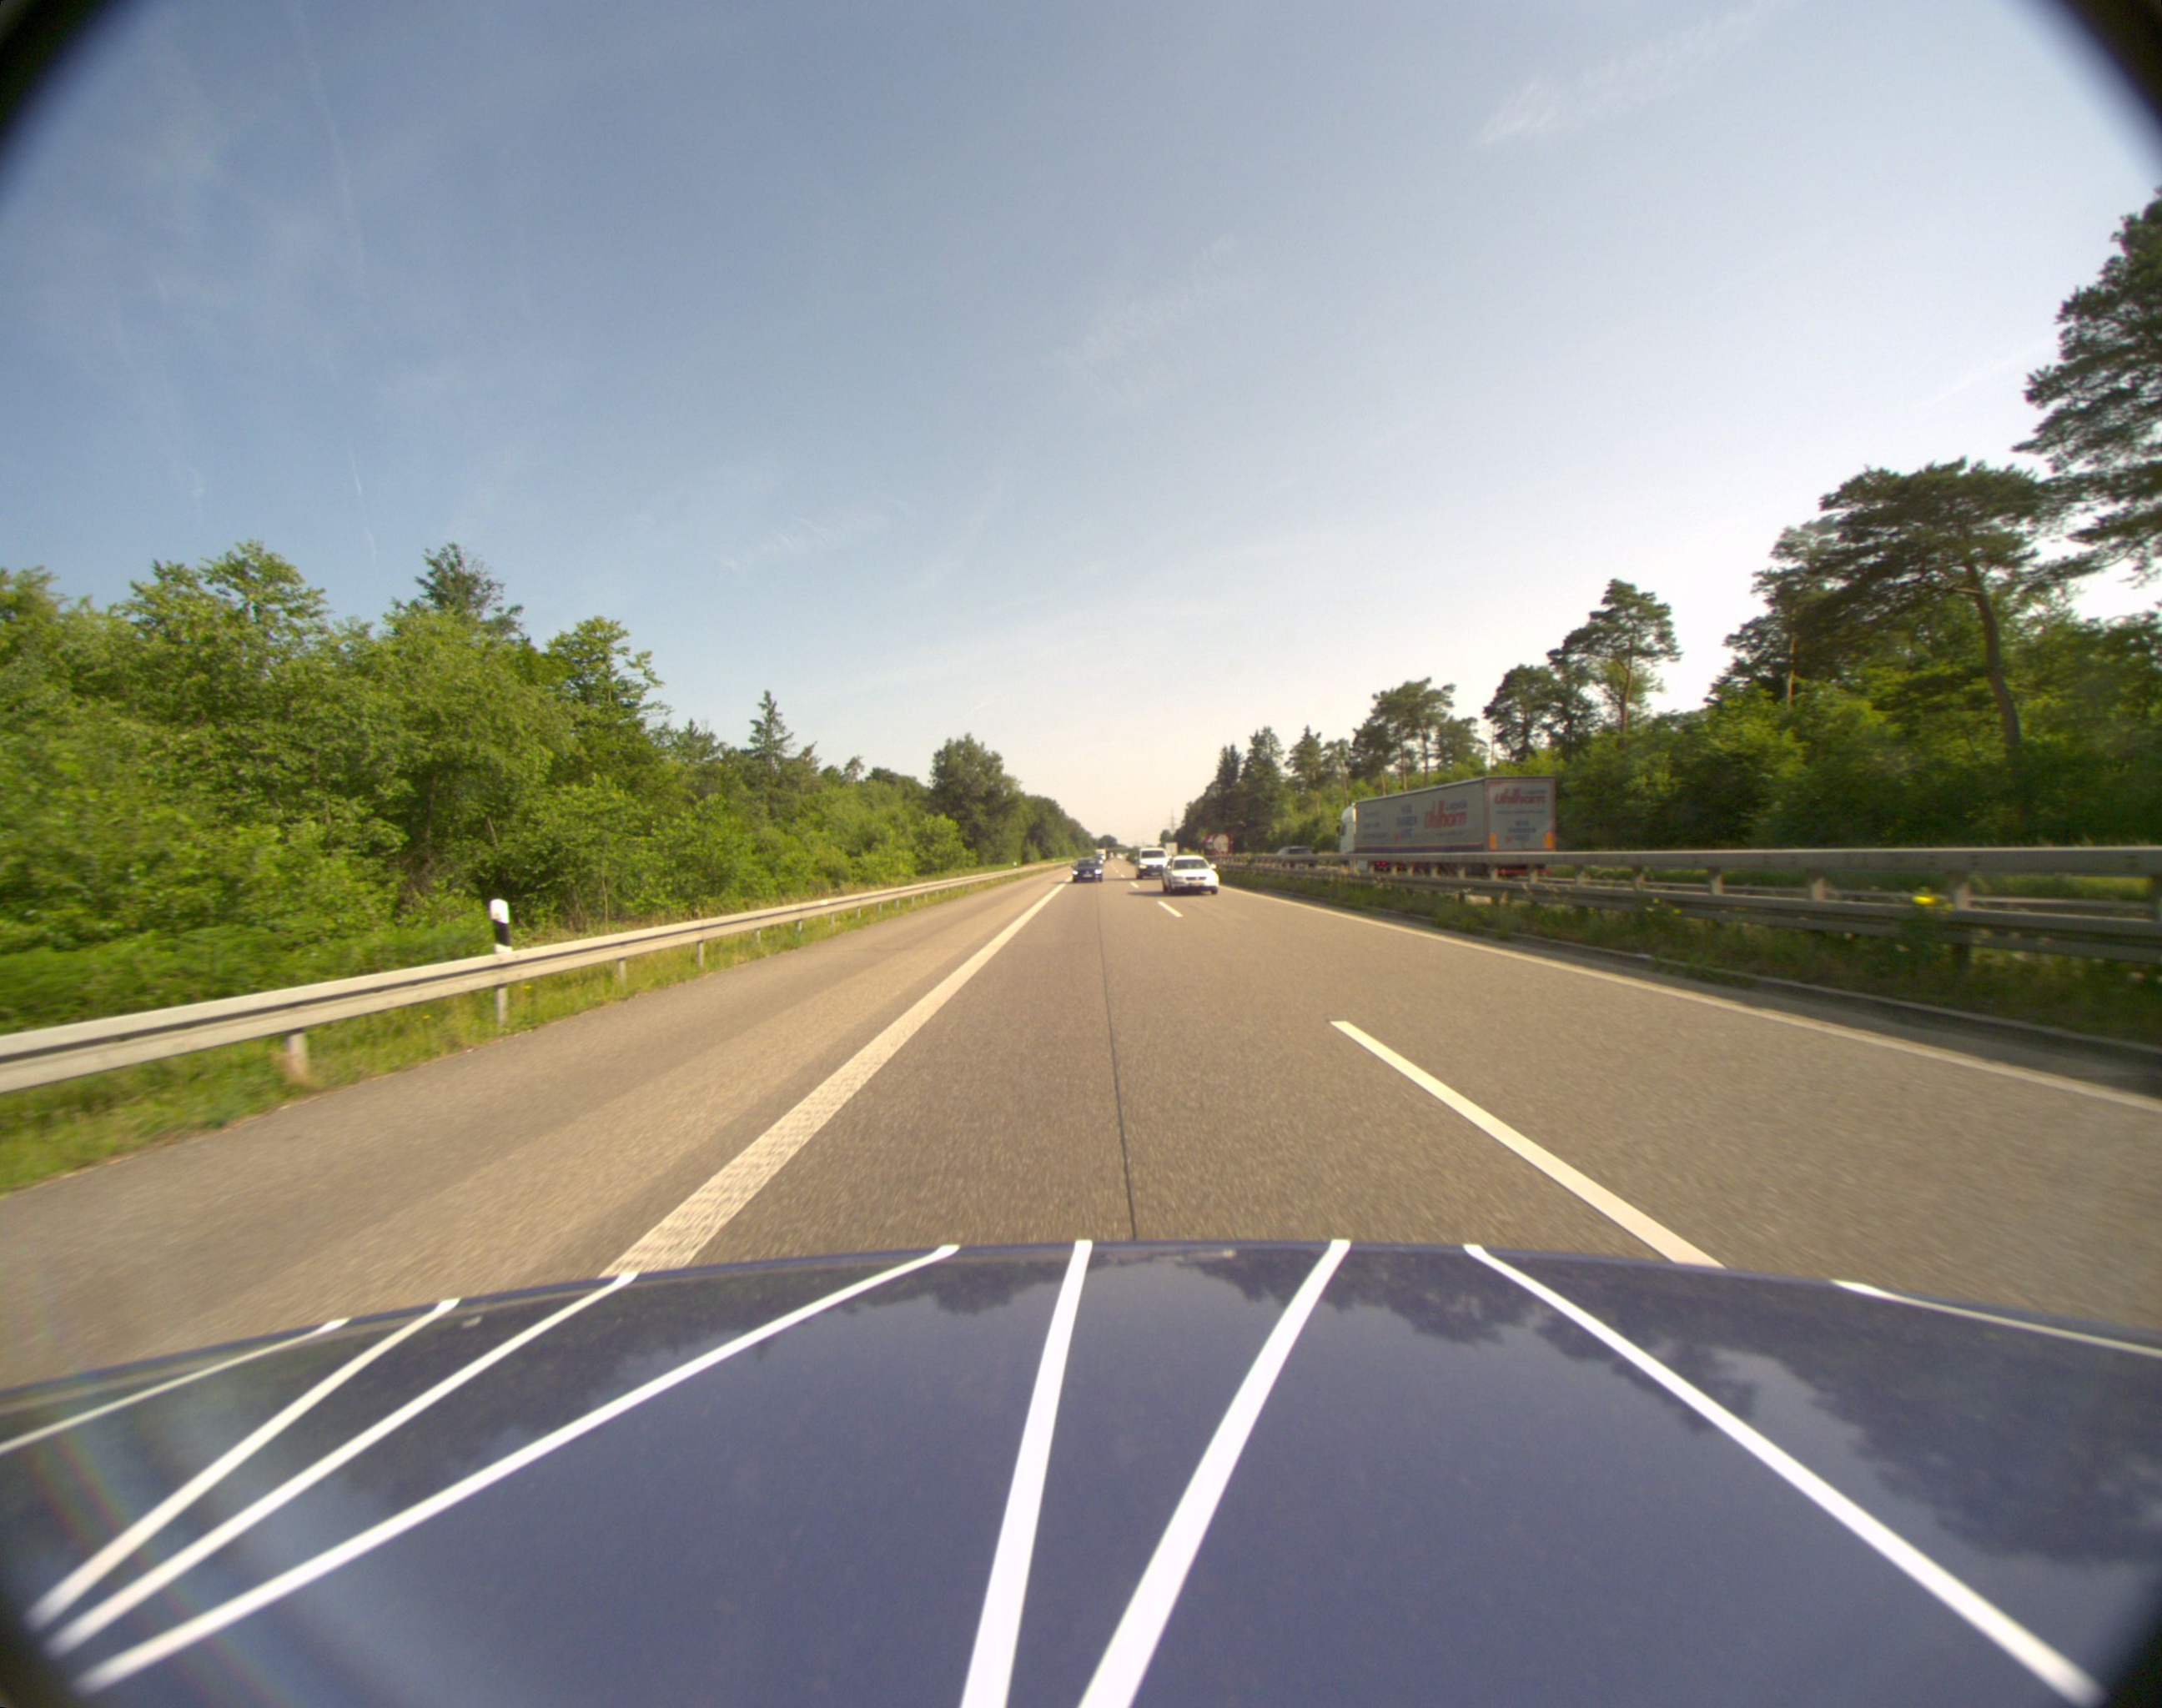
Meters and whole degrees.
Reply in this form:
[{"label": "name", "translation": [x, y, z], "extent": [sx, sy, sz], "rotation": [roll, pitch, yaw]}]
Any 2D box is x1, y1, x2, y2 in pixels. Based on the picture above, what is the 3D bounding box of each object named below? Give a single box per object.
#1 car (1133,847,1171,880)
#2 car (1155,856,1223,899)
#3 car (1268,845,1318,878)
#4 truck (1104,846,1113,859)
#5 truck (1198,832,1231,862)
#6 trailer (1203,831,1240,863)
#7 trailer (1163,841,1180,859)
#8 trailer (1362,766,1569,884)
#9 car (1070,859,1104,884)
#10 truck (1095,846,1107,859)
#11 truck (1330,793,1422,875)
[{"label": "car", "translation": [4.428, 0.550, 48.084], "extent": [1.912, 1.934, 4.706], "rotation": [-2, 0, 0]}, {"label": "car", "translation": [4.089, 0.837, 29.627], "extent": [1.754, 1.477, 5.263], "rotation": [-2, 0, -1]}, {"label": "car", "translation": [11.749, 0.394, 42.340], "extent": [1.690, 1.678, 4.168], "rotation": [-2, 0, 1]}, {"label": "truck", "translation": [8.794, -0.478, 245.350], "extent": [2.694, 4.061, 12.365], "rotation": [-2, 0, 1]}, {"label": "truck", "translation": [18.596, -0.948, 106.313], "extent": [3.275, 4.016, 6.232], "rotation": [-2, 1, -1]}, {"label": "trailer", "translation": [18.656, -0.905, 101.598], "extent": [3.303, 4.016, 8.372], "rotation": [-2, 1, 0]}, {"label": "trailer", "translation": [21.154, -0.878, 178.565], "extent": [2.698, 4.176, 13.081], "rotation": [-1, 0, 1]}, {"label": "trailer", "translation": [16.101, -1.030, 33.487], "extent": [2.840, 4.184, 12.411], "rotation": [-1, 0, 0]}, {"label": "car", "translation": [0.378, 0.971, 43.317], "extent": [1.788, 1.285, 3.539], "rotation": [-2, 0, 2]}, {"label": "truck", "translation": [4.960, -0.297, 189.410], "extent": [2.694, 3.020, 10.372], "rotation": [-2, 0, 1]}, {"label": "truck", "translation": [16.071, -1.025, 41.835], "extent": [2.845, 4.171, 5.546], "rotation": [-1, 0, 0]}]
